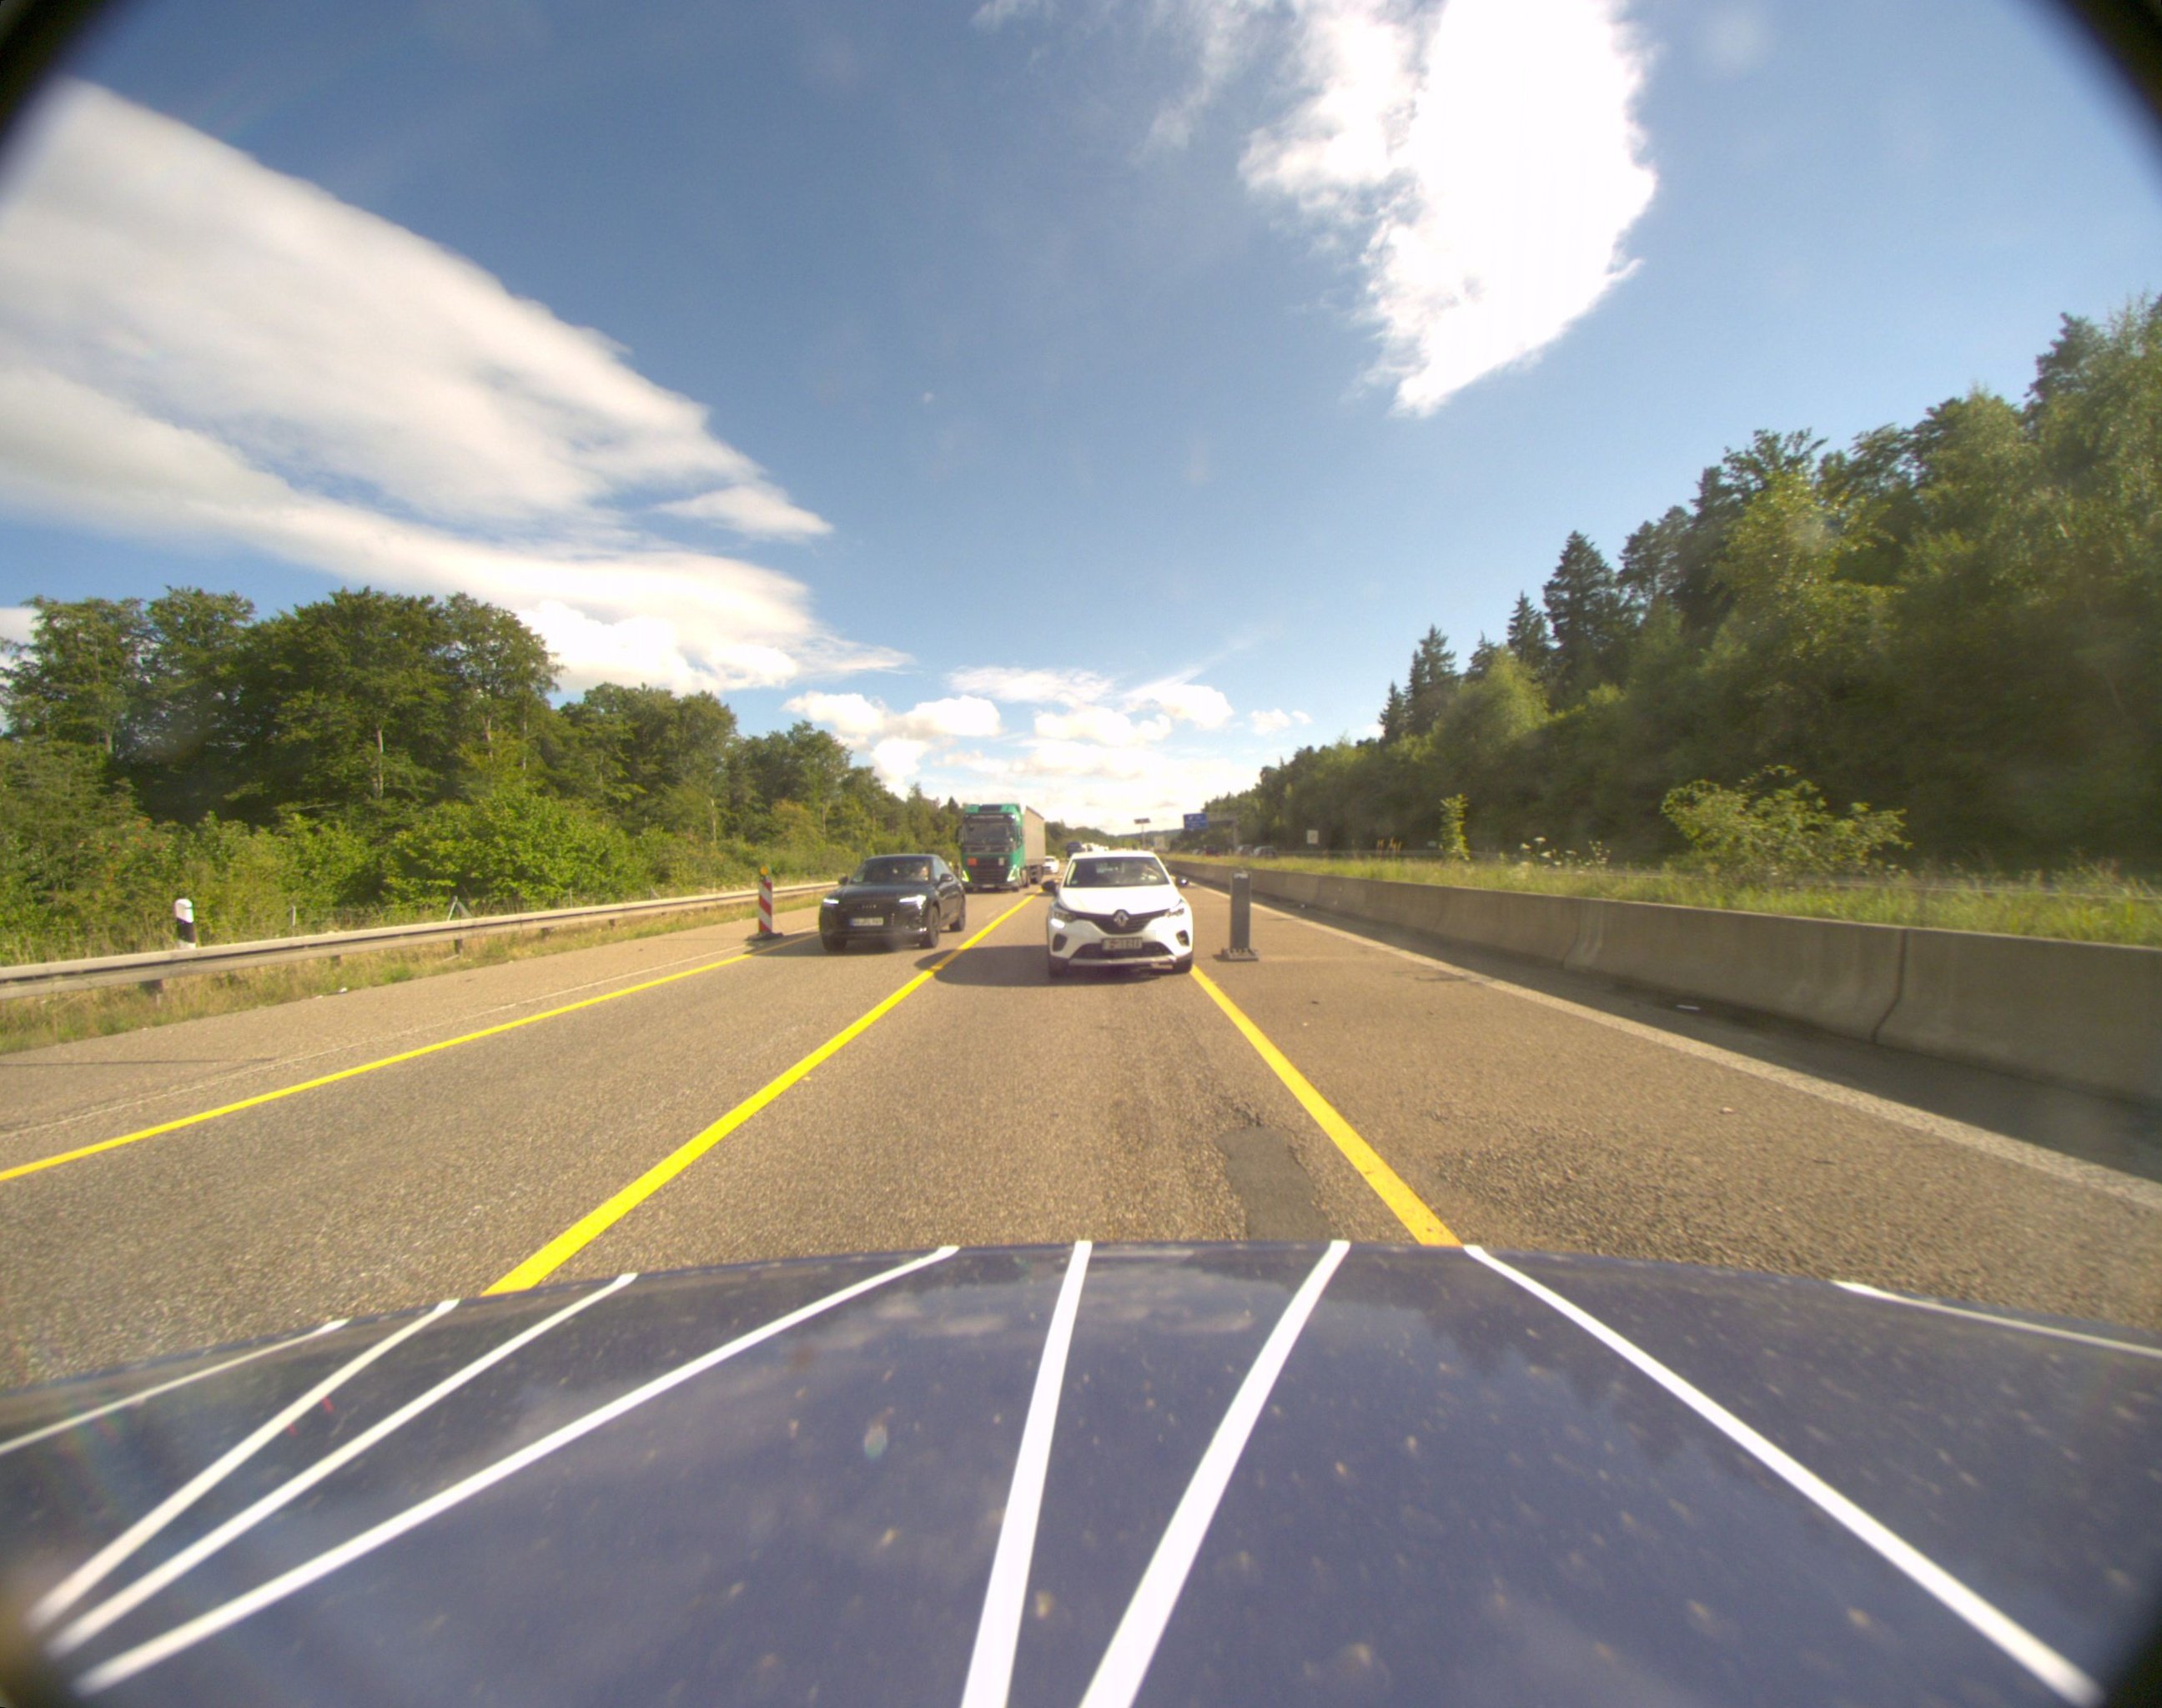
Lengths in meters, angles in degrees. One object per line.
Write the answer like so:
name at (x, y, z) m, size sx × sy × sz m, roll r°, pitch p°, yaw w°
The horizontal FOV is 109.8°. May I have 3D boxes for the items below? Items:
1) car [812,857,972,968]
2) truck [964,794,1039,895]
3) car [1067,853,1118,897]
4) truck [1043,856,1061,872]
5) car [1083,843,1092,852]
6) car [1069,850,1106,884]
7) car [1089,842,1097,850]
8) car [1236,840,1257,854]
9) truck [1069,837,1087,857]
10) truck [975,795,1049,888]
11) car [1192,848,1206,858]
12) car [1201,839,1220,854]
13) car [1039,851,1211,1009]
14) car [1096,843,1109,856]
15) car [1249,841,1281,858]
car at (-3.276, 0.927, 14.063) m, size 1.782 × 1.593 × 4.293 m, roll -2°, pitch 1°, yaw 1°
truck at (-3.468, -0.435, 34.895) m, size 2.528 × 4.076 × 6.855 m, roll -2°, pitch 1°, yaw 0°
car at (0.451, 0.762, 29.588) m, size 1.782 × 1.468 × 4.017 m, roll -2°, pitch 1°, yaw 1°
truck at (-2.394, 0.811, 62.858) m, size 1.468 × 1.215 × 3.087 m, roll -2°, pitch 1°, yaw -2°
car at (1.380, -1.444, 158.956) m, size 1.750 × 1.787 × 3.999 m, roll -2°, pitch 1°, yaw 0°
car at (0.337, 0.648, 40.236) m, size 1.782 × 1.593 × 4.017 m, roll -2°, pitch 1°, yaw 1°
car at (2.921, -1.814, 180.410) m, size 1.750 × 1.787 × 3.999 m, roll -2°, pitch 1°, yaw 0°
car at (21.278, -0.947, 97.818) m, size 1.782 × 1.679 × 4.617 m, roll -2°, pitch 1°, yaw 1°
truck at (-0.423, -1.152, 127.913) m, size 2.576 × 3.168 × 6.802 m, roll -2°, pitch 1°, yaw 3°
truck at (-3.418, -0.549, 41.388) m, size 2.470 × 4.119 × 14.210 m, roll -2°, pitch 0°, yaw 0°
car at (20.898, -0.227, 134.292) m, size 1.782 × 1.593 × 4.311 m, roll -2°, pitch 1°, yaw 1°
car at (17.518, -1.038, 102.760) m, size 1.782 × 1.891 × 4.617 m, roll -2°, pitch 1°, yaw 1°
car at (0.495, 0.814, 10.157) m, size 1.782 × 1.593 × 4.017 m, roll -2°, pitch 1°, yaw 1°
car at (3.511, -0.814, 125.489) m, size 1.998 × 2.002 × 3.999 m, roll -2°, pitch 1°, yaw 1°
car at (16.196, -0.420, 67.099) m, size 1.782 × 1.448 × 4.104 m, roll -2°, pitch 1°, yaw 1°
